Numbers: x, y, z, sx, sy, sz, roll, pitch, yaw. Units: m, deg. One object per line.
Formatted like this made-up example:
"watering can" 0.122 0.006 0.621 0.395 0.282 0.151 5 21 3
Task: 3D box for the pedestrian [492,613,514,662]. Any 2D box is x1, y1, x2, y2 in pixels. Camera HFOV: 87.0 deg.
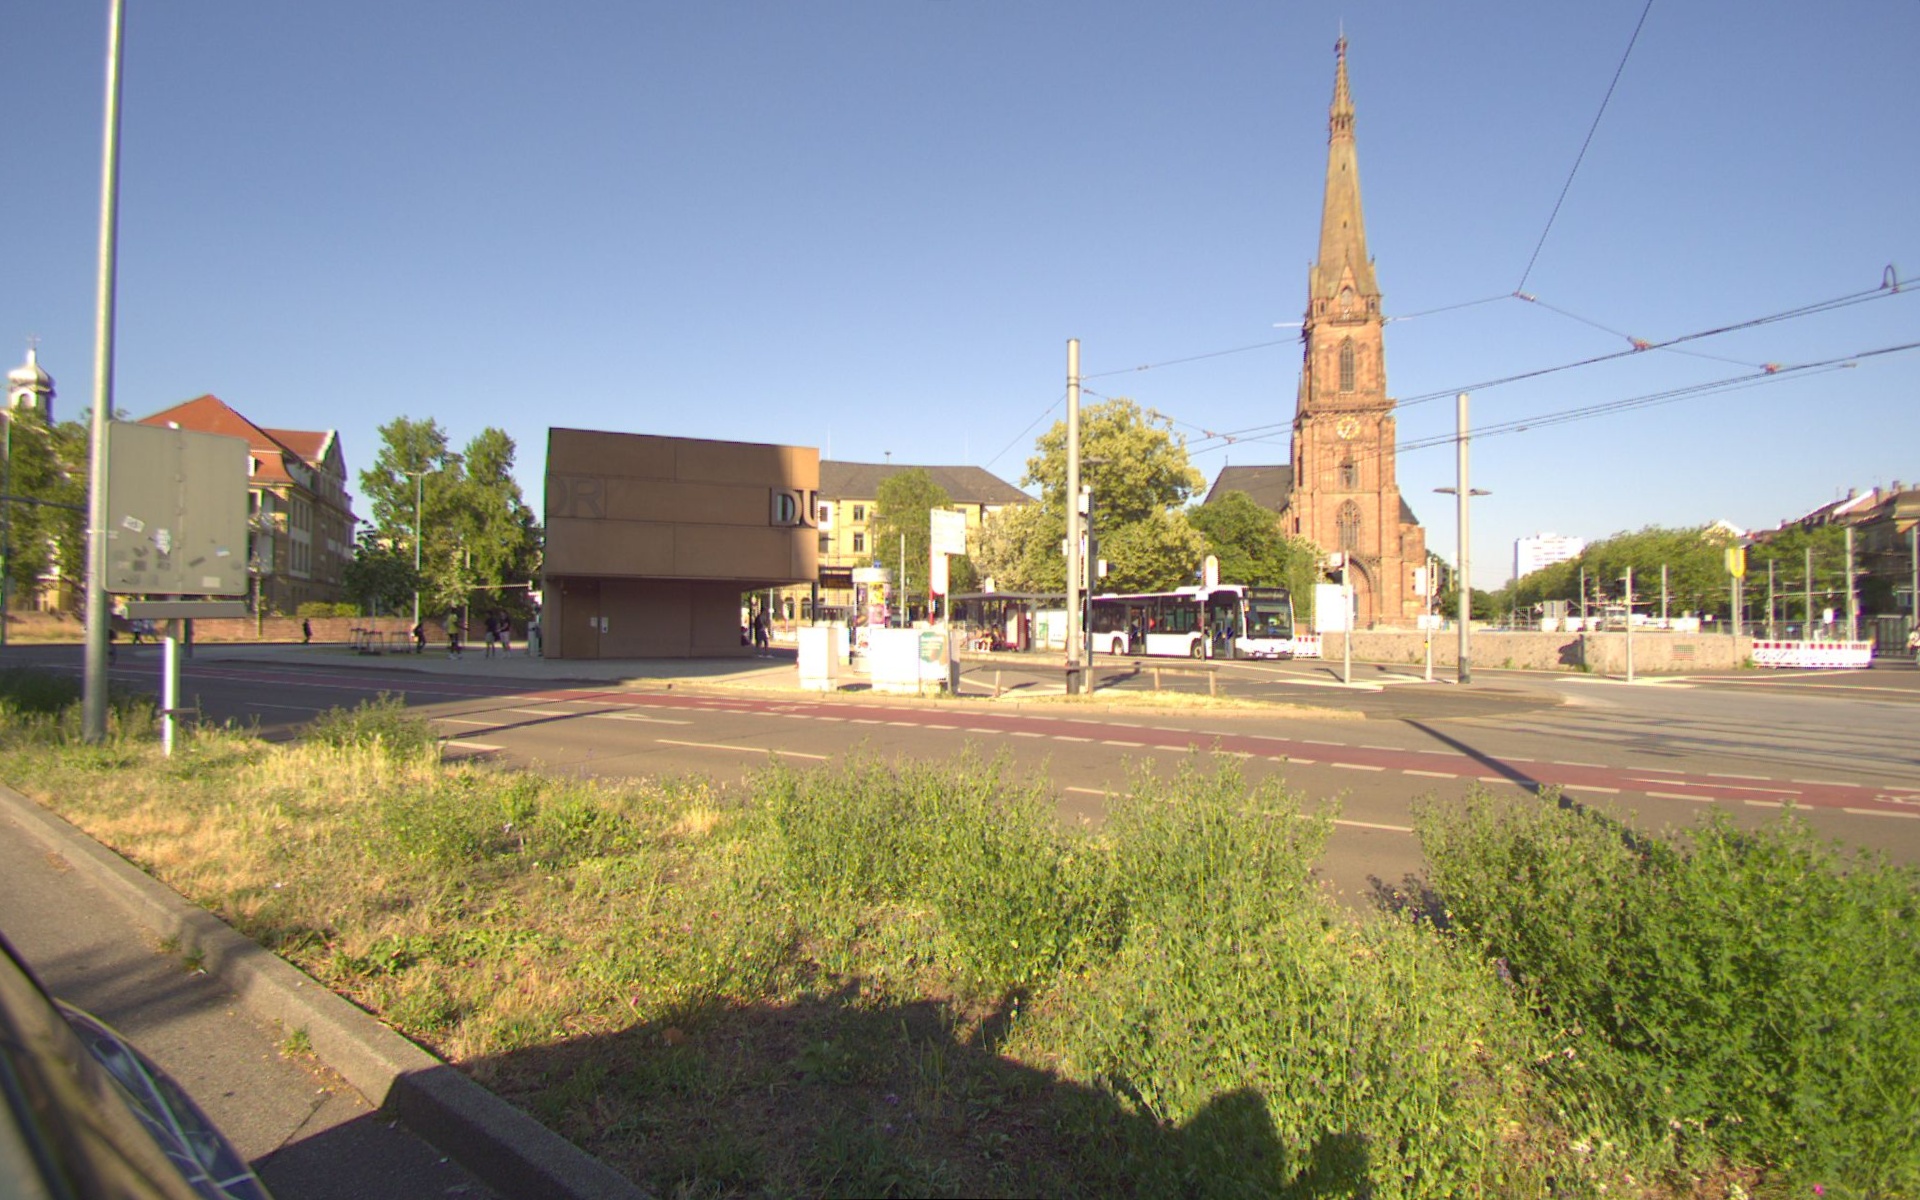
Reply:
"pedestrian" -16.698 1.369 36.988 0.723 1.744 0.667 -1 -2 -24

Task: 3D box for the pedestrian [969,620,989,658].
"pedestrian" 0.997 2.086 53.728 0.802 1.997 0.757 1 -3 -21

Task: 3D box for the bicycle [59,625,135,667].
"bicycle" -27.342 1.448 32.058 2.539 1.265 0.736 0 -1 23

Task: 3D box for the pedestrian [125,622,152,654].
"pedestrian" -44.766 2.089 55.130 0.710 1.686 0.864 3 0 28

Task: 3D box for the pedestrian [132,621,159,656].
"pedestrian" -45.059 2.131 55.996 0.710 1.908 0.864 3 0 28

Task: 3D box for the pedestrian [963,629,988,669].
"pedestrian" 0.779 2.471 50.951 0.979 1.997 0.831 1 -3 -21

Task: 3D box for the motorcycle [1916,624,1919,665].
"motorcycle" 36.190 1.660 37.769 0.689 1.507 0.348 -1 -1 41

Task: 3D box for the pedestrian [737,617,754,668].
"pedestrian" -8.728 1.717 41.167 0.604 2.029 0.809 -1 -2 -13

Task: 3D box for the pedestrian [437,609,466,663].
"pedestrian" -17.791 1.256 35.400 0.639 1.849 0.709 -4 -3 41

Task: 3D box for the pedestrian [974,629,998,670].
"pedestrian" 1.261 2.399 49.252 0.964 1.997 0.721 1 -3 -21

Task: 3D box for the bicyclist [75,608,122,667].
"bicyclist" -27.243 1.180 32.013 1.007 1.846 0.737 0 -1 22

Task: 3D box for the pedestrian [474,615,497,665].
"pedestrian" -16.748 1.409 35.693 0.629 1.702 0.551 0 -3 -36

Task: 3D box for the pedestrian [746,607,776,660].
"pedestrian" -7.655 1.288 38.967 0.964 1.997 0.721 1 -3 -23

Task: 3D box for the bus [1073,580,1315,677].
"bus" 9.253 0.989 42.642 3.194 3.342 12.229 4 -1 -23

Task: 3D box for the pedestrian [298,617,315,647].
"pedestrian" -38.113 1.848 59.024 0.780 1.665 0.715 3 0 -33

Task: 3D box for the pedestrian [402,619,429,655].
"pedestrian" -26.447 1.795 49.179 0.745 1.697 0.890 -1 -2 30
